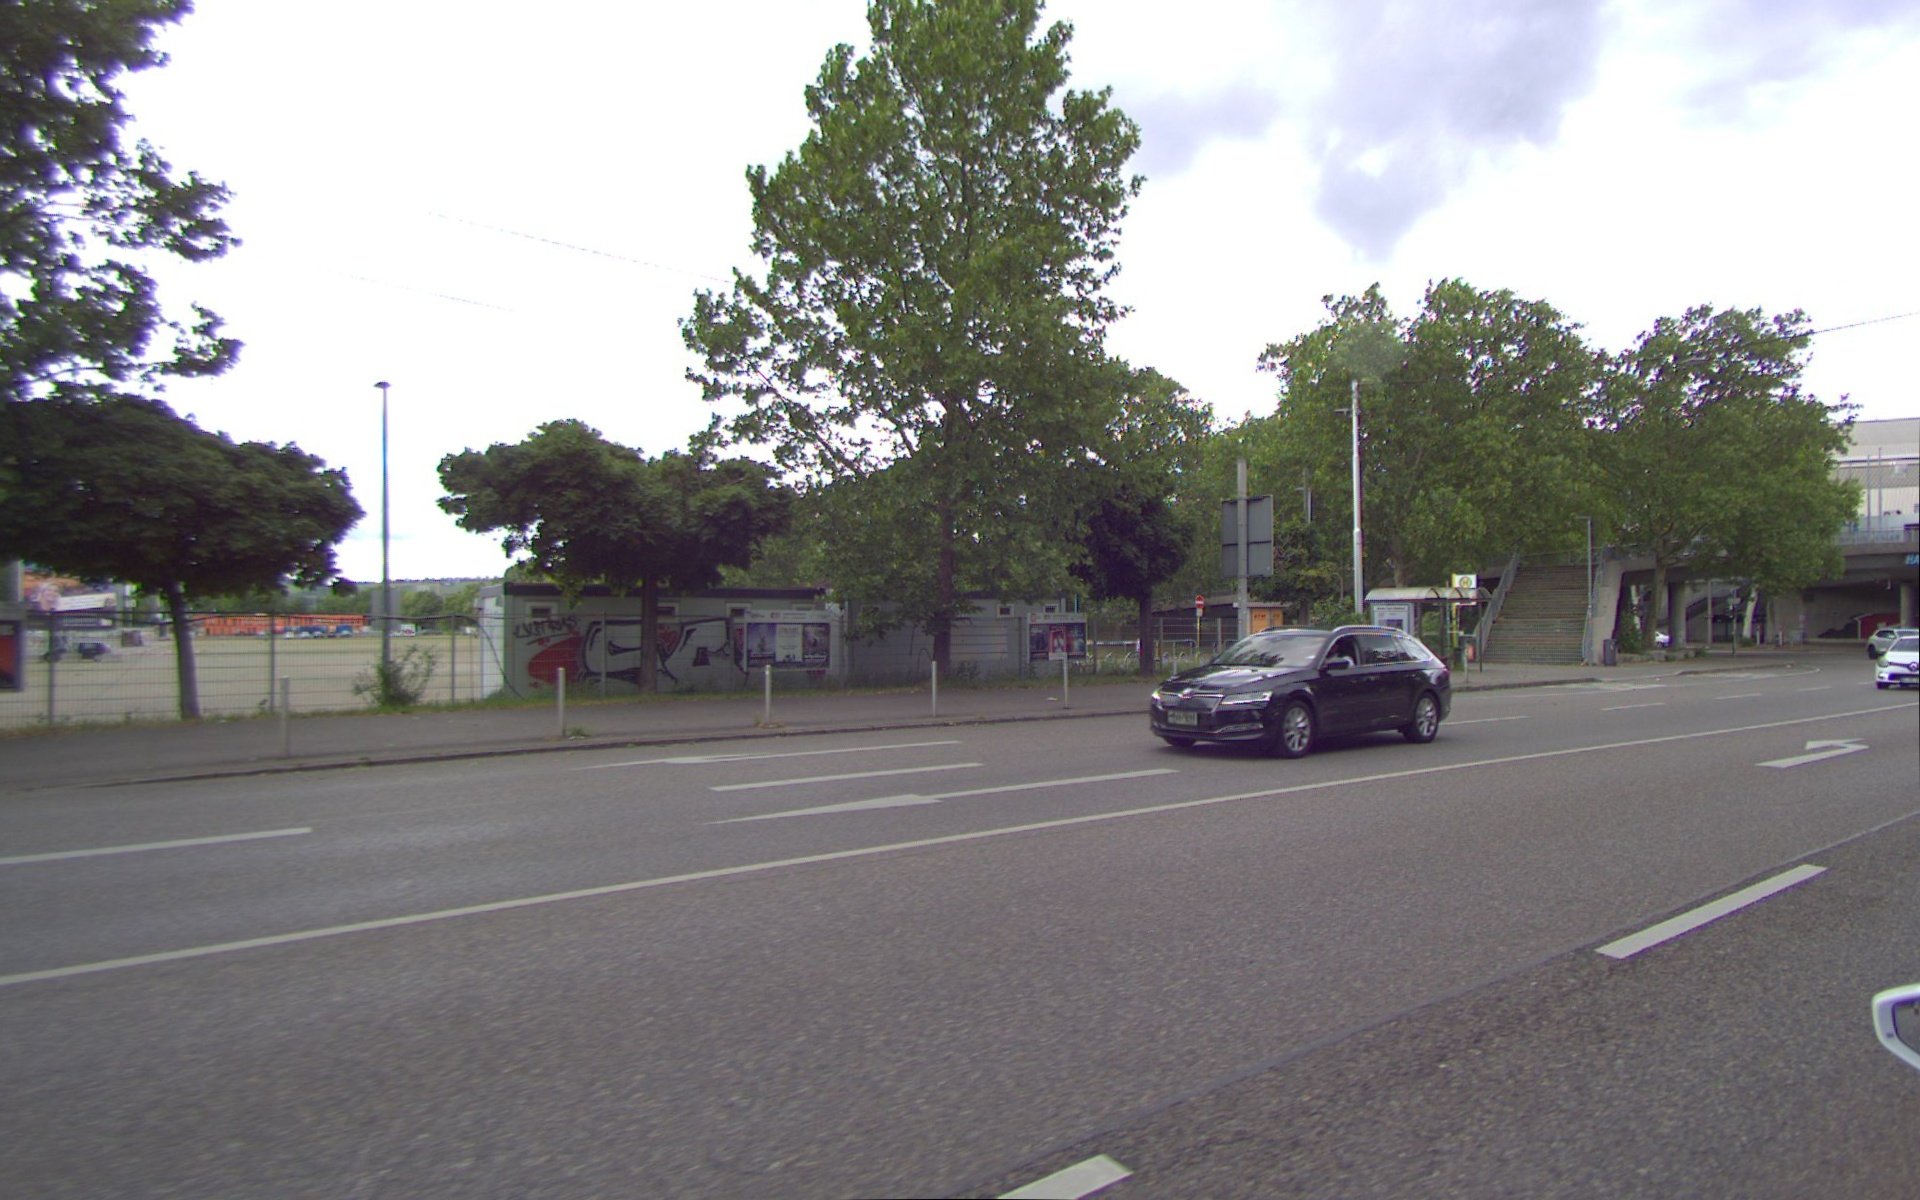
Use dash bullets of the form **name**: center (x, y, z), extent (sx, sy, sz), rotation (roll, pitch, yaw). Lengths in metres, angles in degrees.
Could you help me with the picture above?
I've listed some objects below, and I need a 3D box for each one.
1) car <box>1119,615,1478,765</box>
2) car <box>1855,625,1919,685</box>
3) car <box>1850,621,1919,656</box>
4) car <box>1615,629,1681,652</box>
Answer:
- **car**: center (4.361, 1.005, 12.617), extent (4.681, 1.550, 1.980), rotation (1, -2, -37)
- **car**: center (26.347, 1.464, 27.438), extent (4.344, 1.550, 1.980), rotation (1, -2, -37)
- **car**: center (50.364, 2.067, 54.050), extent (1.960, 1.767, 4.597), rotation (1, -1, 17)
- **car**: center (55.512, 3.252, 81.095), extent (1.980, 1.682, 3.962), rotation (1, -1, -34)
